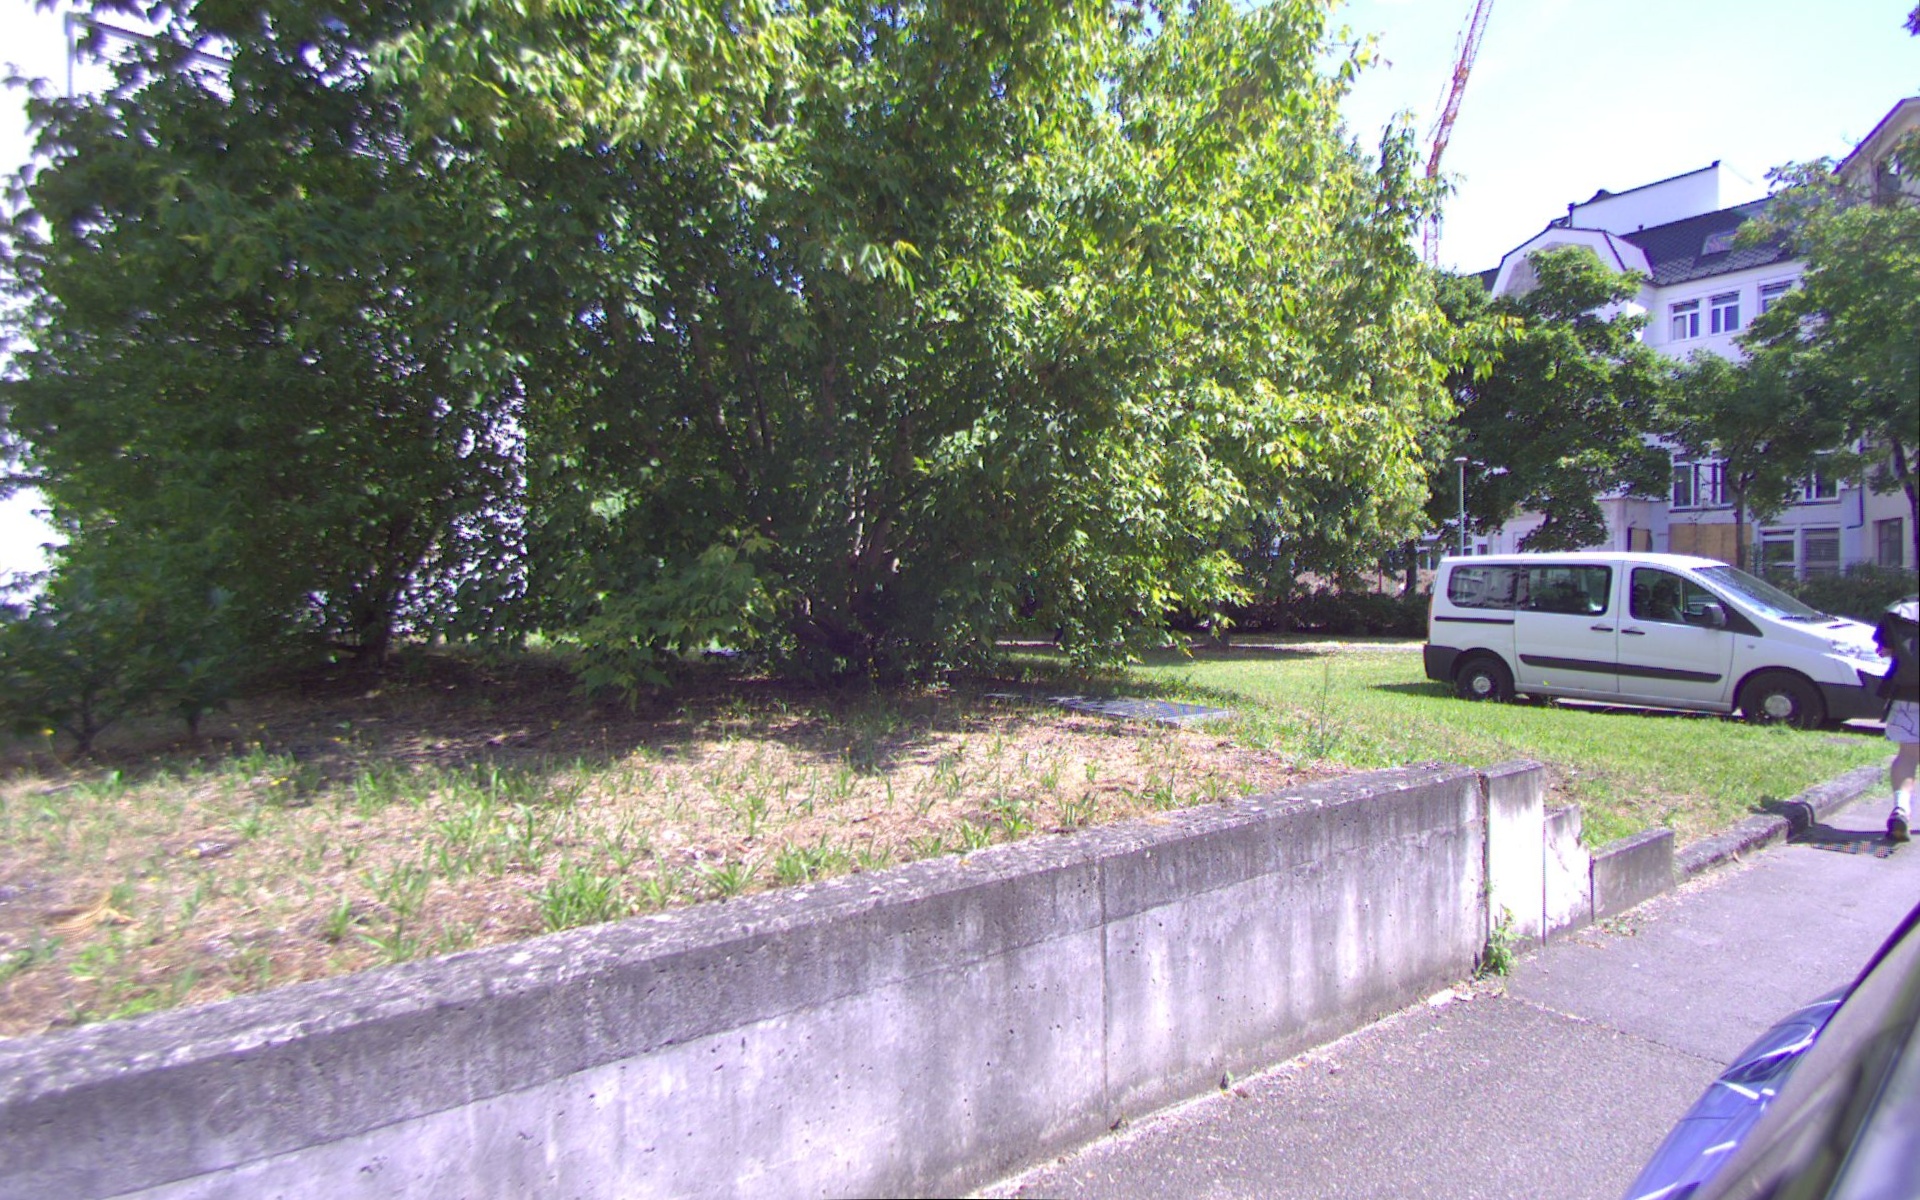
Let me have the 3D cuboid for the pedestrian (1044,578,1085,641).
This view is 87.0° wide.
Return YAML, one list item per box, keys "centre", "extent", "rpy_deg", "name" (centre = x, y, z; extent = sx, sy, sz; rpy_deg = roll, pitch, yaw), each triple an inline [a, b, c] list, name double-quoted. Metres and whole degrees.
- centre: [2.659, 0.225, 25.755]
  extent: [0.747, 1.584, 0.729]
  rpy_deg: [0, 0, 43]
  name: "pedestrian"

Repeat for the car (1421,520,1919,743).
- centre: [8.158, 0.247, 11.755]
  extent: [1.963, 2.039, 4.774]
  rpy_deg: [-1, 1, -36]
  name: "car"

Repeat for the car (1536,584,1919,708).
- centre: [10.295, 0.487, 13.106]
  extent: [1.799, 1.369, 4.625]
  rpy_deg: [0, 1, -36]
  name: "car"

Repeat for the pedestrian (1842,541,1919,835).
- centre: [6.116, 0.529, 6.324]
  extent: [0.737, 1.777, 0.759]
  rpy_deg: [0, 0, -35]
  name: "pedestrian"
